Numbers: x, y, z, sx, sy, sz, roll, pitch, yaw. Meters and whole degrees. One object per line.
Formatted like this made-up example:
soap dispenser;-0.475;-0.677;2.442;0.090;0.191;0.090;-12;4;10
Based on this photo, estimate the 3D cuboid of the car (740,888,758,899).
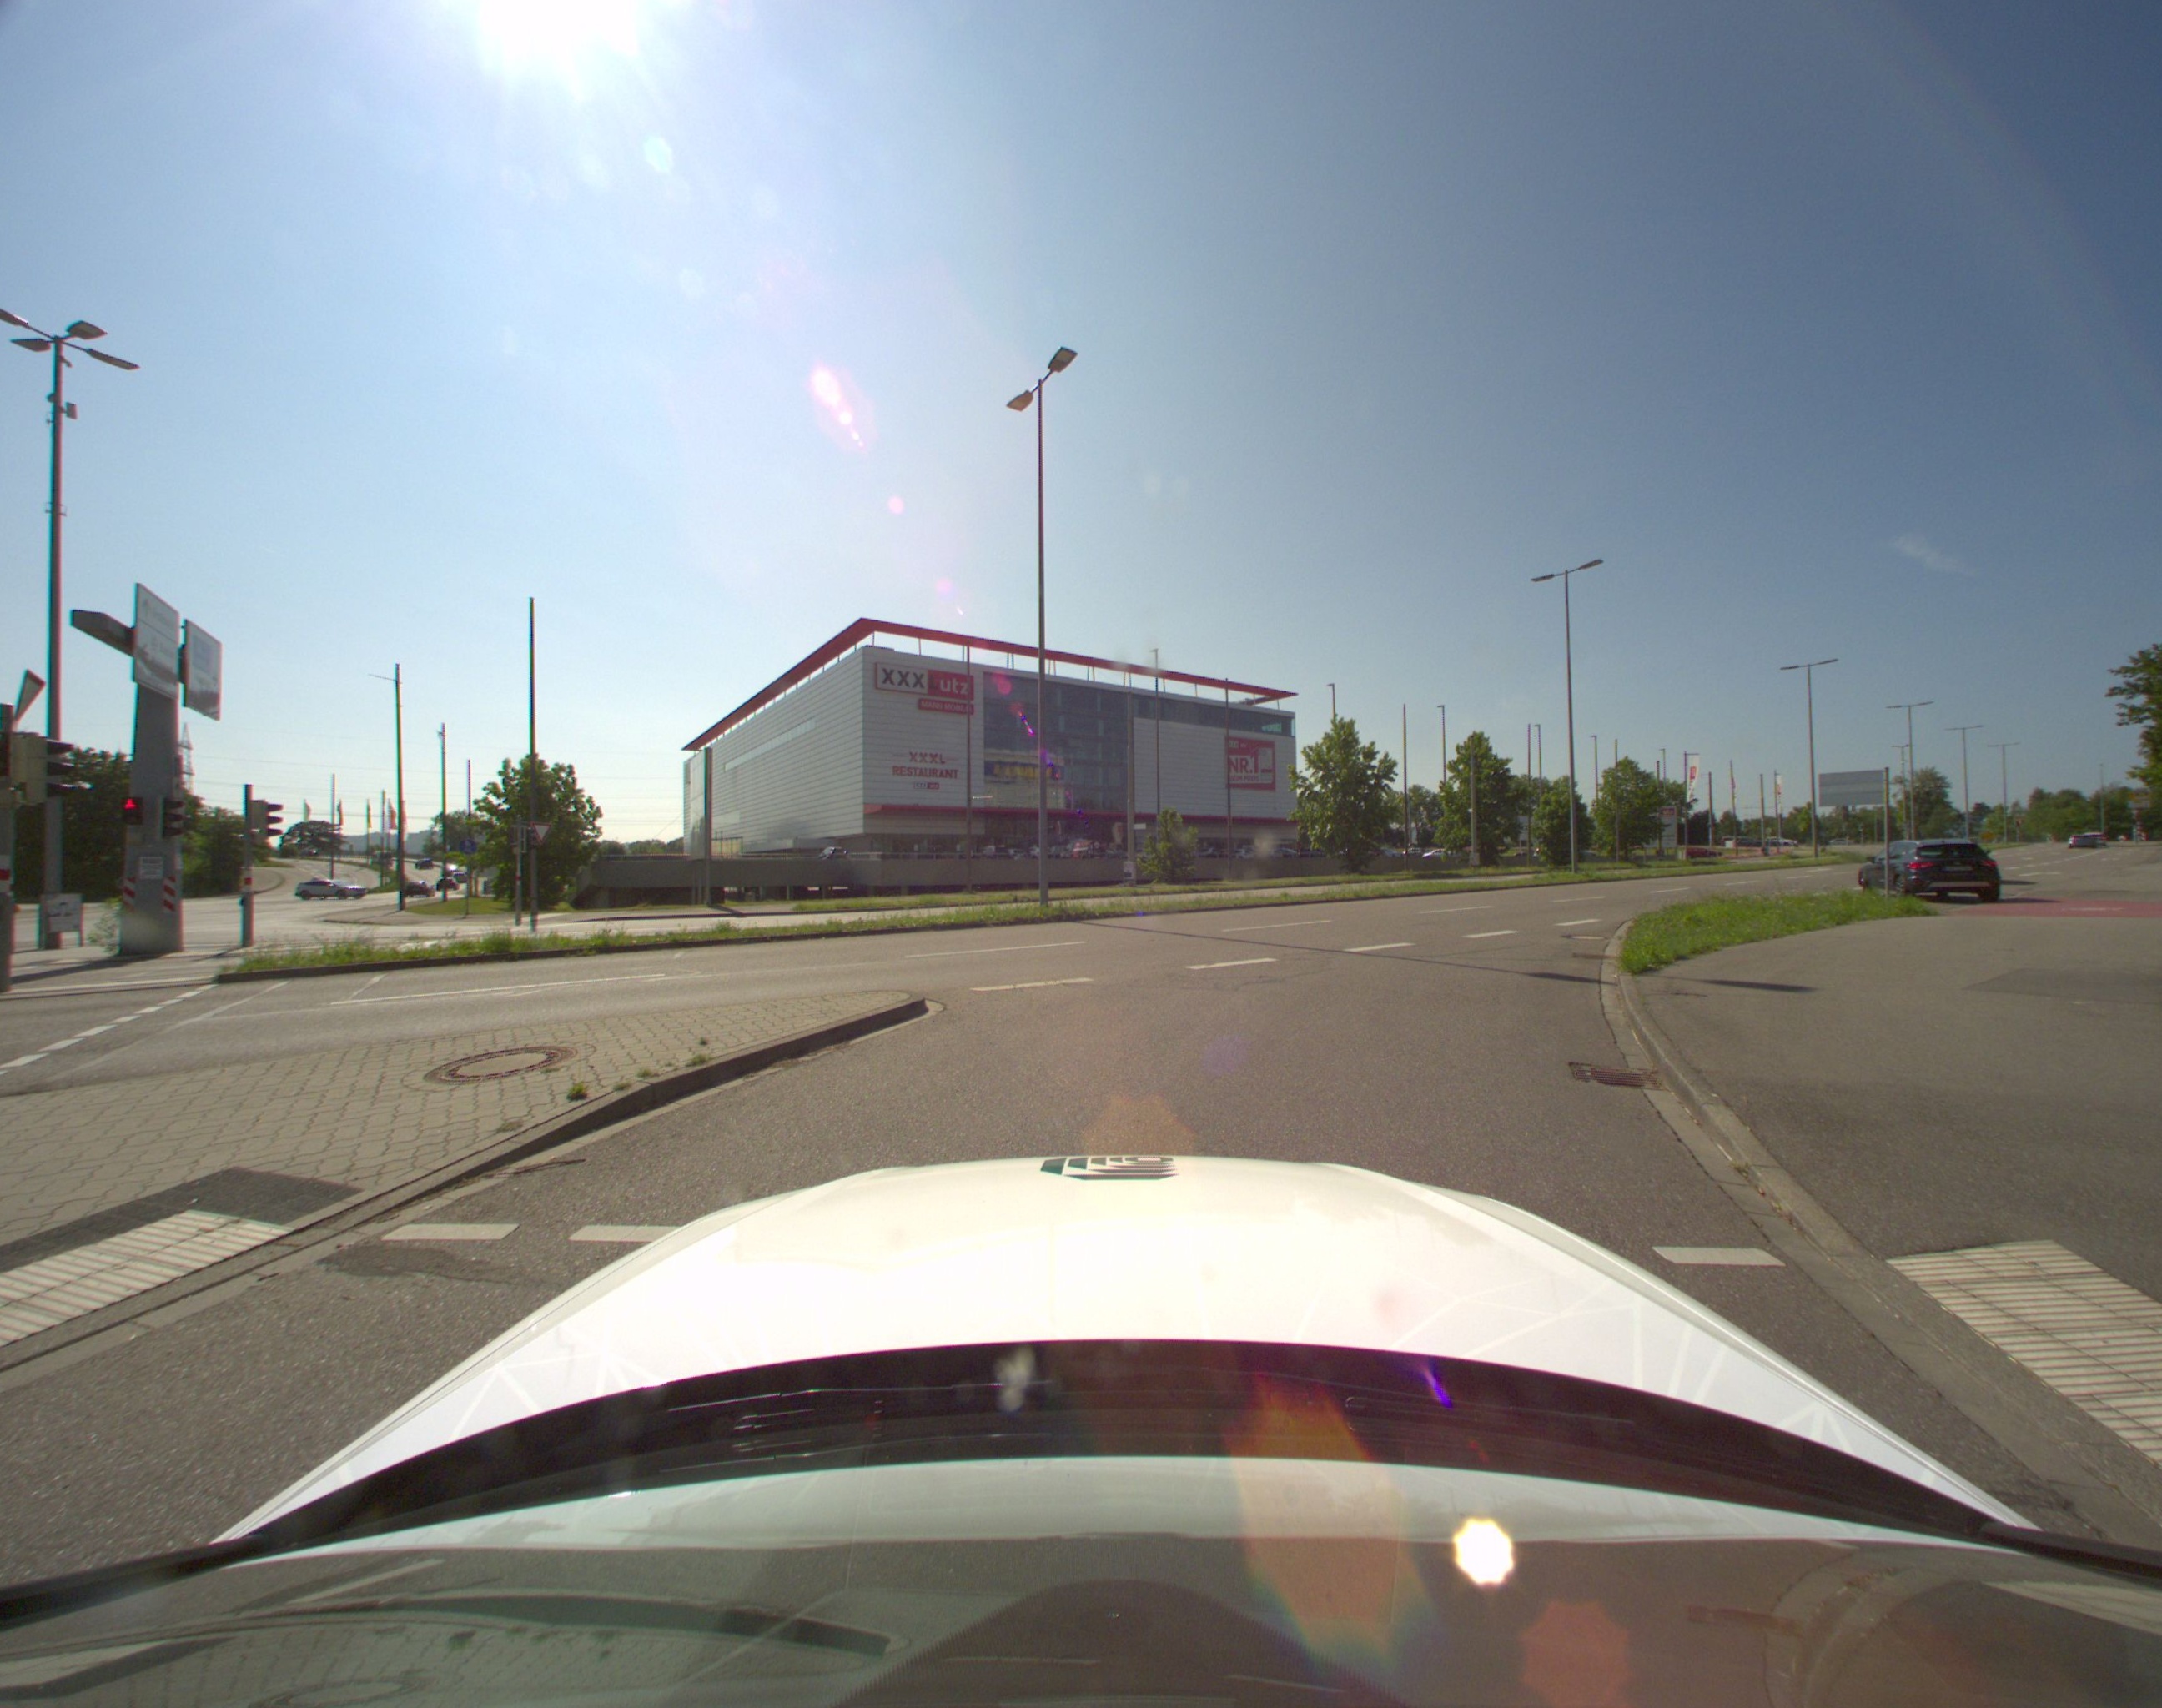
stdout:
car;-30.746;3.649;75.360;1.076;0.975;1.921;1;-1;-38

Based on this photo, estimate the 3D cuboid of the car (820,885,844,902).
car;-15.586;2.478;50.988;0.891;0.975;1.922;1;-1;-35

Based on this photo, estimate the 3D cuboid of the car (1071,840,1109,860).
car;0.763;-0.318;66.852;1.782;1.556;2.745;-1;-1;-37

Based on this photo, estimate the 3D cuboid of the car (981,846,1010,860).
car;-8.382;-0.092;79.974;1.522;1.330;2.987;1;-1;-37

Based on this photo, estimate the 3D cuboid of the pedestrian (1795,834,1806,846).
pedestrian;103.402;-1.962;117.086;0.907;1.707;0.836;-2;-1;-24

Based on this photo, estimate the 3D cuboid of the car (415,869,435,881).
car;-107.016;3.432;132.852;3.949;2.014;2.012;-2;-1;42

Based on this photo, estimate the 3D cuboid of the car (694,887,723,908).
car;-18.750;2.179;40.924;0.894;0.975;1.921;1;-1;-38

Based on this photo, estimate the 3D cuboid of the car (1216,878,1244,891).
car;11.442;2.339;62.670;1.076;0.975;1.921;1;-1;-38

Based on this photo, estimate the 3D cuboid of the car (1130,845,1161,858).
car;6.651;-0.226;84.362;1.522;1.330;3.188;1;-1;-37

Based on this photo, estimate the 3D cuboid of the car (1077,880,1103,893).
car;0.731;2.615;64.907;1.076;0.975;1.921;1;-1;-38

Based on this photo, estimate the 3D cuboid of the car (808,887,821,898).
car;-24.617;3.545;75.297;0.759;0.928;1.275;1;-1;-38

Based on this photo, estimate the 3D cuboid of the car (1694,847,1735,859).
car;85.775;-0.097;110.297;1.836;1.605;4.147;1;-1;-40

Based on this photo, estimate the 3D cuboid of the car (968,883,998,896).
car;-6.020;2.180;50.125;0.911;0.733;2.064;1;-1;-38

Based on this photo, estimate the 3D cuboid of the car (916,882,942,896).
car;-10.564;2.423;56.572;1.076;0.975;1.921;1;-1;-38

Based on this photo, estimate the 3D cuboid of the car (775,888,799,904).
car;-21.226;3.010;58.787;1.076;1.039;1.921;-1;-1;-38

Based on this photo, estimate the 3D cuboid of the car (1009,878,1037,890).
car;-3.296;1.707;46.232;0.862;0.620;1.546;1;-1;-38

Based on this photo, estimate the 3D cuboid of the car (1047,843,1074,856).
car;-2.226;-0.488;88.480;1.522;1.330;3.063;1;-1;-37

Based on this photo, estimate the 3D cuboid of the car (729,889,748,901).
car;-30.231;3.595;71.778;1.076;0.975;1.921;1;-1;-38

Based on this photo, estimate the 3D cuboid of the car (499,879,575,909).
car;-34.890;2.537;52.322;4.016;1.734;1.979;0;-1;-35

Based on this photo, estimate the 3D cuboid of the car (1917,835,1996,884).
car;31.446;0.168;29.235;3.889;1.498;1.617;-4;2;-38

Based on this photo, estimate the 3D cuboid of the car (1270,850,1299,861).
car;24.401;0.196;97.792;1.522;1.330;3.063;1;-1;-37

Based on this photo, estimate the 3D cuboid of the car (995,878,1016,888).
car;-7.099;2.733;76.800;1.076;0.975;1.921;1;-1;-38

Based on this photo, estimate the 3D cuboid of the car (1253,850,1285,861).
car;22.132;0.199;95.906;1.487;1.199;3.471;1;-1;-37

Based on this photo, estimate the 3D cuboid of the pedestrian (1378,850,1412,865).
pedestrian;42.901;0.516;111.316;3.981;2.014;1.996;0;-1;-5

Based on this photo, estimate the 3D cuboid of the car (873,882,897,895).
car;-15.186;2.670;63.059;1.076;0.975;1.921;1;-1;-38

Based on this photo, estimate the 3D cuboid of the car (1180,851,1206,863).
car;13.174;0.357;95.973;1.307;1.330;3.110;1;-1;-37

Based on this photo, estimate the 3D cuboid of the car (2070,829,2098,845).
car;104.404;-1.759;84.771;4.194;1.573;1.692;-1;-1;-38

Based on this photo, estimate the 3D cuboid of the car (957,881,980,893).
car;-9.296;2.699;67.246;1.076;0.975;1.921;1;-1;-38

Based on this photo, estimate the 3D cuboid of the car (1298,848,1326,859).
car;28.406;-0.032;100.108;1.522;1.294;3.063;1;-1;-36

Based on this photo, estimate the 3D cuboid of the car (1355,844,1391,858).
car;23.149;-0.188;64.648;1.076;1.059;2.492;1;-1;-38

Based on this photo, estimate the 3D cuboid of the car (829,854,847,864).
car;-24.082;0.502;80.796;1.076;0.975;1.921;1;-1;-38

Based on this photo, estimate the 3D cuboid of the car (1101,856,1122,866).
car;3.037;0.674;81.028;1.076;0.975;1.921;-1;-1;-38

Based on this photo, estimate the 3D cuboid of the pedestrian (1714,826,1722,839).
pedestrian;97.852;-3.359;125.039;0.921;1.972;0.711;0;-1;-31

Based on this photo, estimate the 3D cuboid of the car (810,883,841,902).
car;-14.035;2.103;44.648;1.076;1.008;1.922;-1;-1;-35

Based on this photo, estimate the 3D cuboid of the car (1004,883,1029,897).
car;-4.816;2.680;60.834;0.915;0.975;1.921;1;-1;-38

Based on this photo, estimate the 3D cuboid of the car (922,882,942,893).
car;-13.378;3.004;73.145;0.965;0.975;1.921;1;-1;-38

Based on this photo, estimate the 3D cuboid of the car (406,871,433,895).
car;-60.206;2.623;74.178;1.644;2.014;3.956;-1;-1;-35

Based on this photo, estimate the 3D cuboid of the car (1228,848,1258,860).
car;18.487;-0.006;93.127;1.711;1.330;3.063;1;-1;-37

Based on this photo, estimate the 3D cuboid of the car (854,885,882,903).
car;-12.007;2.257;45.867;0.870;0.975;1.827;1;-1;-38

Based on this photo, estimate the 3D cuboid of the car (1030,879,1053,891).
car;-3.511;2.732;71.773;1.076;0.975;1.921;1;-1;-38

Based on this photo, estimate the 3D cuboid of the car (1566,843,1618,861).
car;55.692;-0.168;88.790;1.954;1.843;4.378;0;-1;-36

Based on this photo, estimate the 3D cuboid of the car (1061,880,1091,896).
car;-0.325;2.263;54.295;1.076;0.975;1.921;1;-1;-38

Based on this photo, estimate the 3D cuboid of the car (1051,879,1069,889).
car;-2.109;3.056;82.069;0.926;0.975;1.921;1;-1;-38

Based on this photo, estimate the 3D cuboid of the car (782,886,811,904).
car;-17.388;2.486;49.754;1.076;0.975;1.921;-1;-1;-37

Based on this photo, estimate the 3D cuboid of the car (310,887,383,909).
car;-61.190;3.681;67.884;3.999;1.622;2.009;-1;-1;-19

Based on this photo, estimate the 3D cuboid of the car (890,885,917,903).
car;-9.169;2.033;41.956;0.796;0.882;1.488;1;-1;-38

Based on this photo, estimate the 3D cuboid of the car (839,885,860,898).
car;-19.683;3.184;69.248;1.076;0.975;1.921;1;-1;-38

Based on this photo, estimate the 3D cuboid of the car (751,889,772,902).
car;-25.502;3.307;64.943;0.935;0.975;1.920;1;-1;-41

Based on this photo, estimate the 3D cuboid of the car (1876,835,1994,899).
car;21.844;0.282;20.957;1.654;1.523;3.398;-1;1;39

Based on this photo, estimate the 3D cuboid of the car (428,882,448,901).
car;-72.545;4.211;91.940;1.591;2.014;3.956;-1;-1;-35

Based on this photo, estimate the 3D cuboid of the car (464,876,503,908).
car;-44.808;2.798;61.114;2.007;2.296;3.991;0;-1;-32

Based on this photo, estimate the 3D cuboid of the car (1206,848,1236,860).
car;15.751;-0.006;91.767;1.522;1.330;3.063;1;-1;-37
